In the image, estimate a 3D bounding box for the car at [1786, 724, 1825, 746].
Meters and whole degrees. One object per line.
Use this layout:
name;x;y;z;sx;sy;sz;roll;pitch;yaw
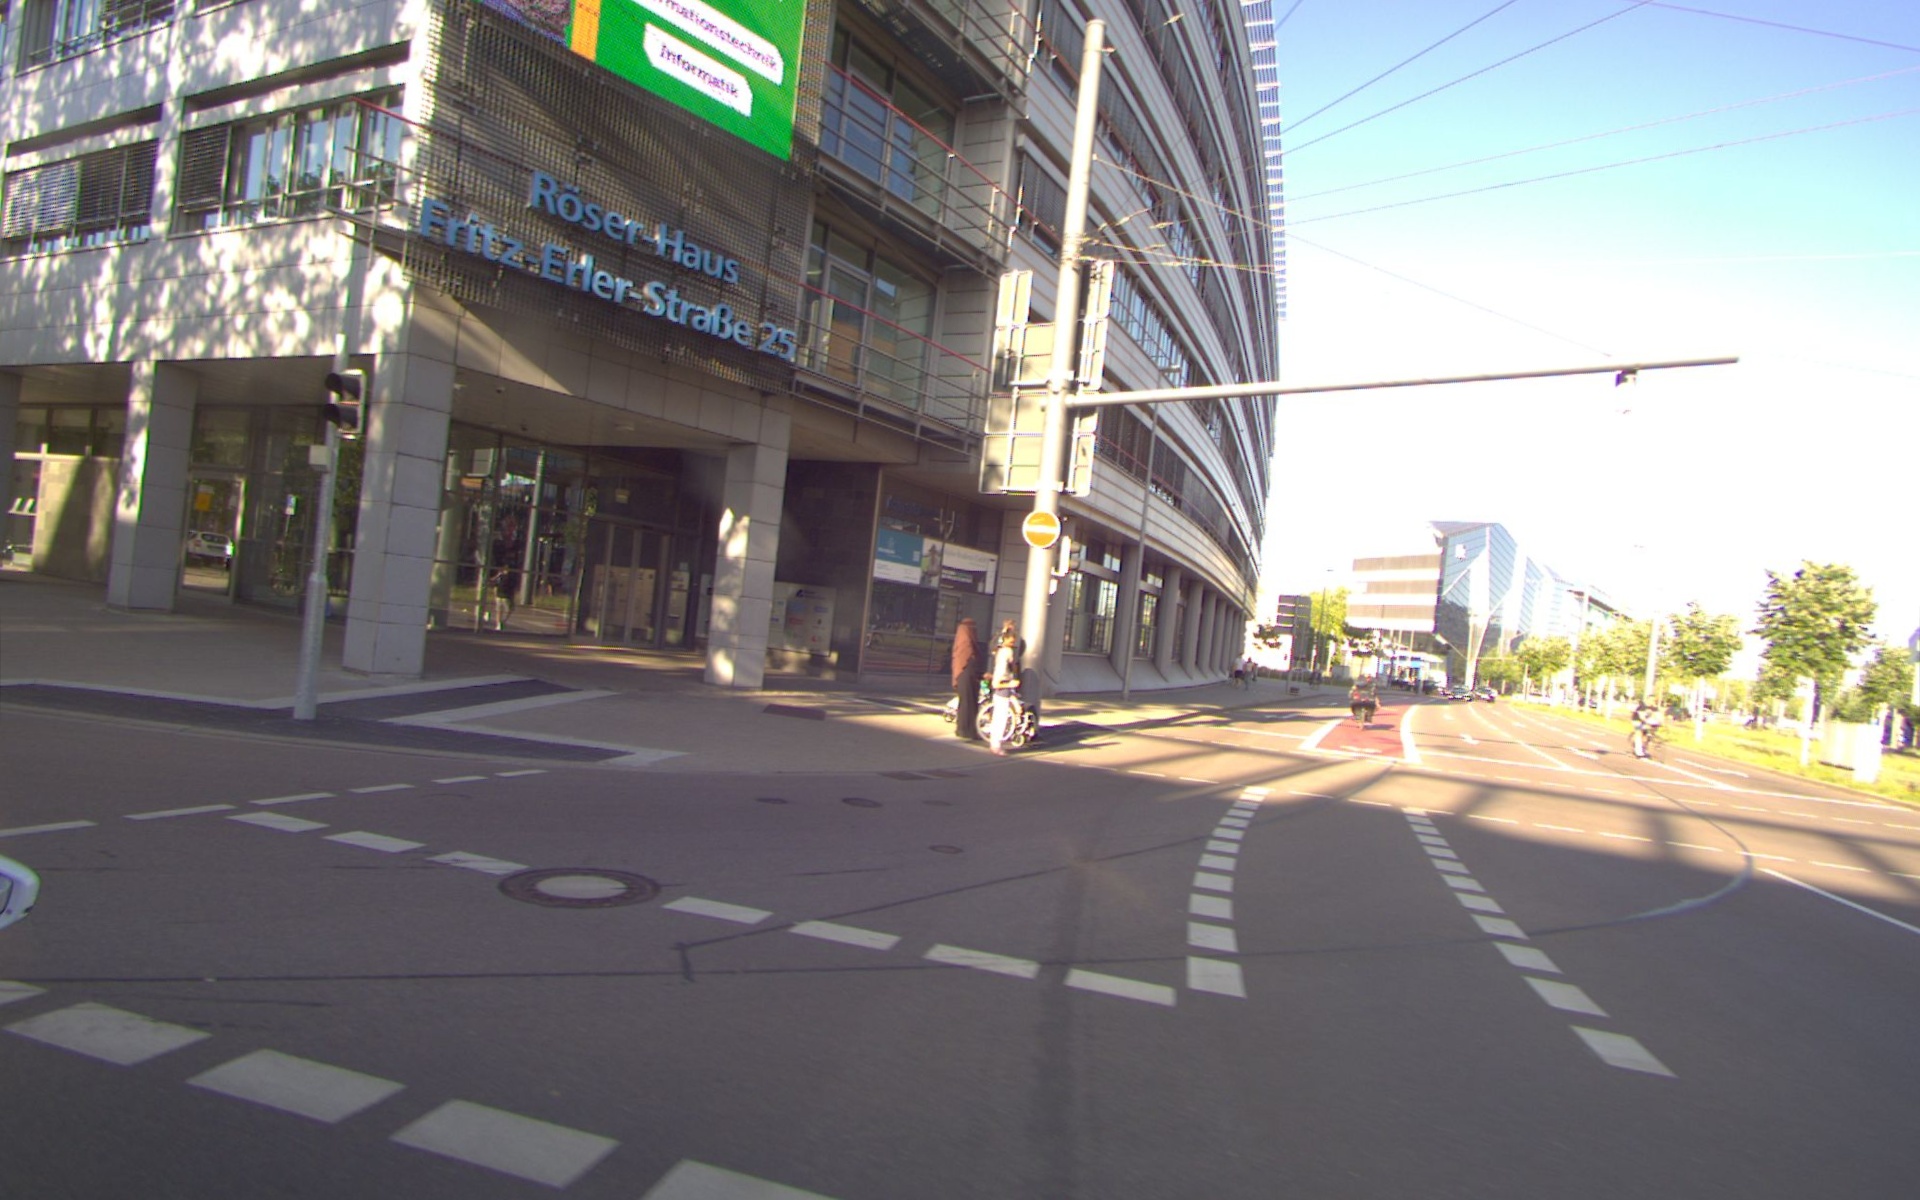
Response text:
car;72.440;11.554;86.248;1.876;1.525;3.994;7;-2;32

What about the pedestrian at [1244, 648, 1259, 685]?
pedestrian;14.675;3.348;50.655;0.540;1.755;0.642;6;0;20

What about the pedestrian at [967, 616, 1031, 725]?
pedestrian;0.618;1.112;16.004;0.692;1.620;0.658;8;0;-11

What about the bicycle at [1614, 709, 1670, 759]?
bicycle;18.235;3.566;26.930;0.632;1.121;1.686;6;-1;16

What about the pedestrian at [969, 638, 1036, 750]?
pedestrian;0.567;1.267;13.662;0.628;1.419;0.545;6;0;-16

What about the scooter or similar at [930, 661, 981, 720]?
scooter or similar;-0.074;1.416;15.868;0.607;0.800;0.659;8;-1;-11

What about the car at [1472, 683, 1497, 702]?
car;53.199;9.324;102.121;1.853;1.621;3.998;6;-1;25

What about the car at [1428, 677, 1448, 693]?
car;55.646;9.902;117.100;1.859;1.615;3.998;6;-1;24

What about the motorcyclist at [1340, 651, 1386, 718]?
motorcyclist;11.486;2.408;28.637;1.004;1.752;1.460;6;-1;25

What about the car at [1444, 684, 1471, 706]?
car;46.100;8.797;93.252;1.741;1.745;3.906;6;-1;22

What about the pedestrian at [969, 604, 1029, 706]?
pedestrian;0.709;0.993;18.048;0.678;1.736;0.644;6;0;30

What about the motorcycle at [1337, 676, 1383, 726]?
motorcycle;11.440;2.851;28.675;0.969;1.246;2.942;6;-2;25

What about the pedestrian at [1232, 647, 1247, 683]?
pedestrian;14.120;3.277;50.858;0.540;1.755;0.642;6;0;20

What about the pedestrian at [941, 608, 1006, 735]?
pedestrian;0.189;1.022;14.559;0.628;1.729;0.580;6;0;-15

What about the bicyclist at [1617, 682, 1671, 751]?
bicyclist;18.289;3.091;26.915;0.752;1.687;0.994;6;0;16

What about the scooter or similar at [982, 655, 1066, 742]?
scooter or similar;0.928;1.442;14.781;1.003;1.143;0.549;6;0;-15

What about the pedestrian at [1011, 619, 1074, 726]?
pedestrian;1.359;1.186;16.500;0.710;1.636;0.655;6;-1;23
